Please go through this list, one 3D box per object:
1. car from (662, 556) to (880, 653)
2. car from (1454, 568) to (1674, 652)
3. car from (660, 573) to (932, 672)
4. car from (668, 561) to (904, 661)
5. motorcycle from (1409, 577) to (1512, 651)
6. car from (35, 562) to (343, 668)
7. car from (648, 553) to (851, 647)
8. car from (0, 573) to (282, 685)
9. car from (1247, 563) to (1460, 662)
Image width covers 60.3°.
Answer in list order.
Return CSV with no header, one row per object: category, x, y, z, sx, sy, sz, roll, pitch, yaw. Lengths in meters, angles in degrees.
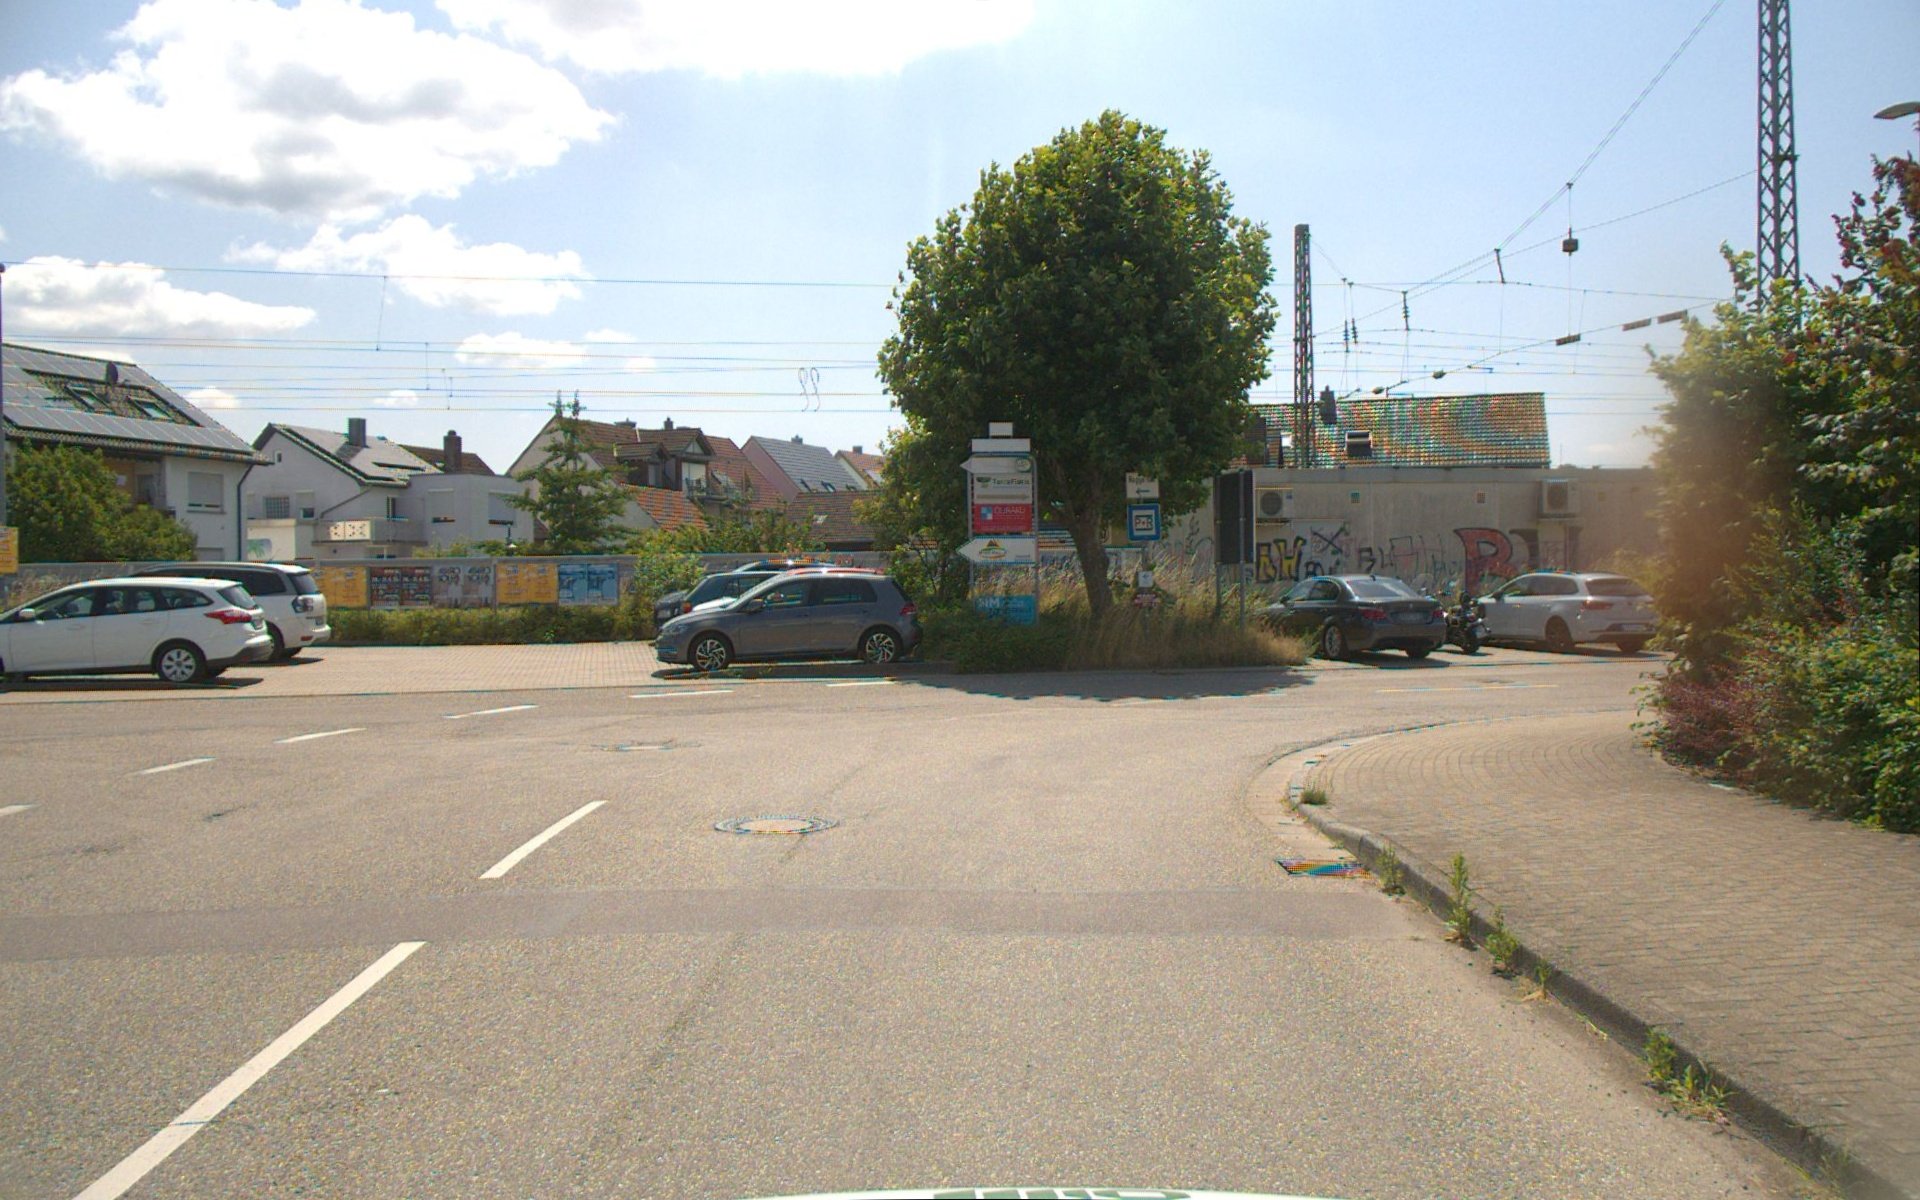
car,-3.564,0.060,30.949,3.914,1.686,1.995,-1,1,-10
car,11.224,0.148,31.040,1.677,1.401,4.092,1,2,-19
car,-2.584,0.338,25.898,4.110,1.488,1.661,0,0,-9
car,-3.022,0.175,28.510,3.914,1.614,1.776,-1,0,-10
motorcycle,9.147,0.239,30.299,0.882,1.250,1.987,-1,2,-16
car,-13.129,0.220,28.426,4.369,1.720,1.996,0,2,-9
car,-4.251,0.004,33.320,3.914,1.760,1.766,1,0,-10
car,-12.220,0.410,23.872,4.208,1.502,1.822,1,0,-12
car,6.844,0.173,29.179,1.726,1.410,3.978,1,4,-20
